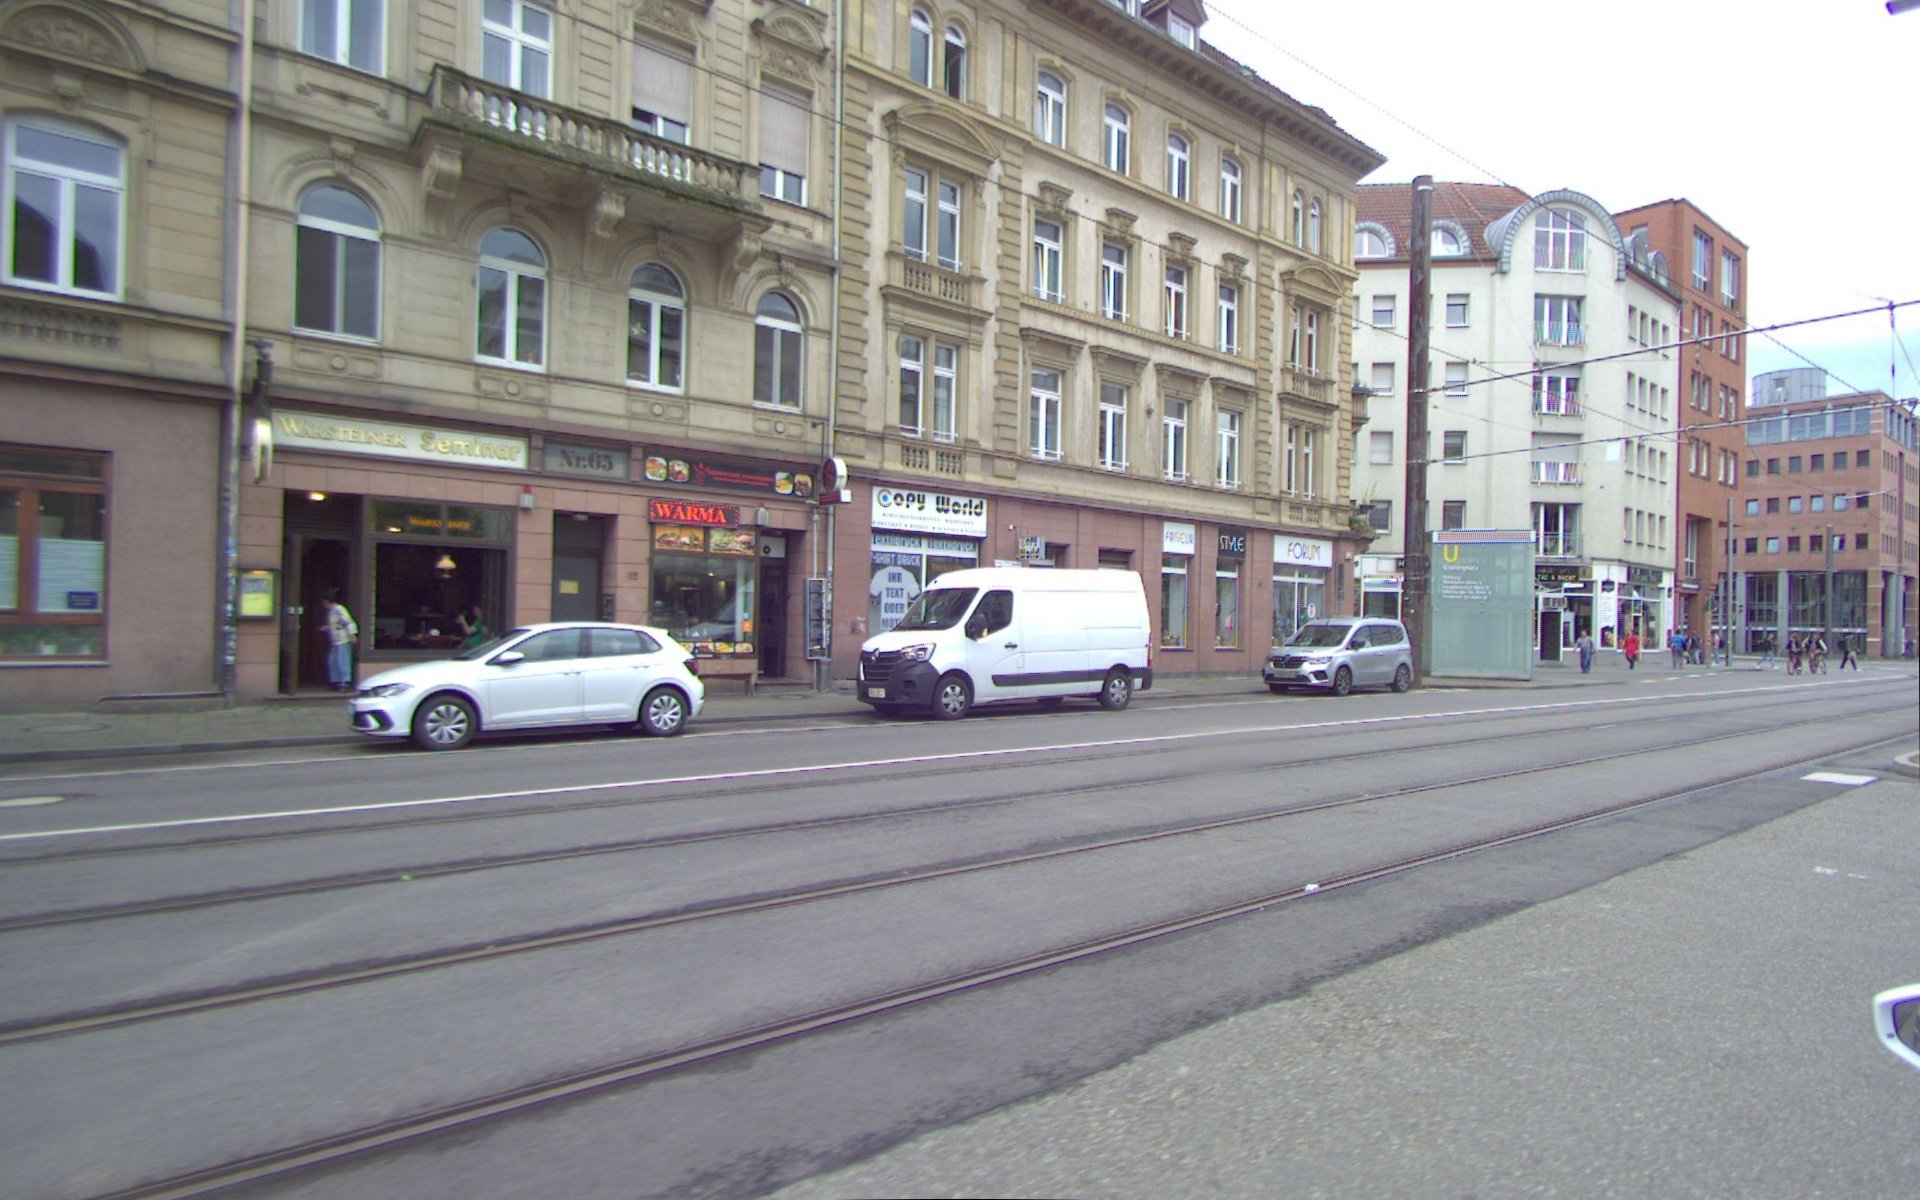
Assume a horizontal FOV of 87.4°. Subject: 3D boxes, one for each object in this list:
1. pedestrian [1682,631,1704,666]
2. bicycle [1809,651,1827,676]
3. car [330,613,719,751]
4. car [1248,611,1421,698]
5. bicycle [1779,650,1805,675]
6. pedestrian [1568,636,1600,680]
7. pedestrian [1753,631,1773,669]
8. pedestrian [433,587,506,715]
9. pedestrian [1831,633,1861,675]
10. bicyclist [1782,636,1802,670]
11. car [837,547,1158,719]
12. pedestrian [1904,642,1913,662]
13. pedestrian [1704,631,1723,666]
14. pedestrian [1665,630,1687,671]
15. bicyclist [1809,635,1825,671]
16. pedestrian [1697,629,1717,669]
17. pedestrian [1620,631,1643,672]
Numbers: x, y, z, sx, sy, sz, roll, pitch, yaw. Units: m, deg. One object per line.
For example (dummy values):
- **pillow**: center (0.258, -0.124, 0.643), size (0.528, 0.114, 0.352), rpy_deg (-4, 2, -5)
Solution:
- **pedestrian**: center (36.551, 2.419, 50.066), size (0.858, 1.709, 0.659), rpy_deg (1, -2, 38)
- **bicycle**: center (37.780, 2.780, 44.228), size (0.470, 1.034, 1.905), rpy_deg (0, -2, 37)
- **car**: center (-5.294, 0.965, 12.514), size (4.130, 1.441, 1.757), rpy_deg (2, -4, -40)
- **car**: center (8.949, 1.277, 23.857), size (4.483, 1.889, 1.887), rpy_deg (2, -3, -40)
- **bicycle**: center (34.660, 2.600, 41.830), size (1.896, 1.034, 0.475), rpy_deg (2, -2, -40)
- **pedestrian**: center (24.900, 2.309, 40.092), size (0.812, 1.709, 0.720), rpy_deg (3, -2, -18)
- **pedestrian**: center (40.948, 2.550, 51.231), size (0.793, 1.914, 0.605), rpy_deg (3, -2, -40)
- **pedestrian**: center (-8.097, 0.821, 16.587), size (0.696, 2.040, 0.747), rpy_deg (2, 0, 22)
- **pedestrian**: center (42.446, 2.578, 48.129), size (0.793, 1.914, 0.889), rpy_deg (3, 0, -40)
- **bicyclist**: center (34.699, 2.204, 41.886), size (0.805, 1.425, 0.475), rpy_deg (2, -2, -39)
- **car**: center (0.806, 0.618, 17.336), size (5.618, 2.519, 2.037), rpy_deg (2, -4, -39)
- **pedestrian**: center (76.256, 4.179, 80.764), size (0.443, 1.552, 0.520), rpy_deg (2, 0, 35)
- **pedestrian**: center (37.754, 2.423, 50.304), size (0.793, 1.706, 0.564), rpy_deg (3, 0, -42)
- **pedestrian**: center (30.841, 2.176, 43.271), size (0.653, 1.709, 0.719), rpy_deg (0, -3, 43)
- **bicyclist**: center (37.933, 2.338, 44.453), size (0.485, 1.561, 0.809), rpy_deg (0, -2, 38)
- **pedestrian**: center (32.798, 2.155, 44.113), size (0.652, 1.709, 0.719), rpy_deg (1, -3, 40)
- **pedestrian**: center (28.372, 2.175, 42.429), size (0.712, 1.709, 0.659), rpy_deg (0, -3, 42)
